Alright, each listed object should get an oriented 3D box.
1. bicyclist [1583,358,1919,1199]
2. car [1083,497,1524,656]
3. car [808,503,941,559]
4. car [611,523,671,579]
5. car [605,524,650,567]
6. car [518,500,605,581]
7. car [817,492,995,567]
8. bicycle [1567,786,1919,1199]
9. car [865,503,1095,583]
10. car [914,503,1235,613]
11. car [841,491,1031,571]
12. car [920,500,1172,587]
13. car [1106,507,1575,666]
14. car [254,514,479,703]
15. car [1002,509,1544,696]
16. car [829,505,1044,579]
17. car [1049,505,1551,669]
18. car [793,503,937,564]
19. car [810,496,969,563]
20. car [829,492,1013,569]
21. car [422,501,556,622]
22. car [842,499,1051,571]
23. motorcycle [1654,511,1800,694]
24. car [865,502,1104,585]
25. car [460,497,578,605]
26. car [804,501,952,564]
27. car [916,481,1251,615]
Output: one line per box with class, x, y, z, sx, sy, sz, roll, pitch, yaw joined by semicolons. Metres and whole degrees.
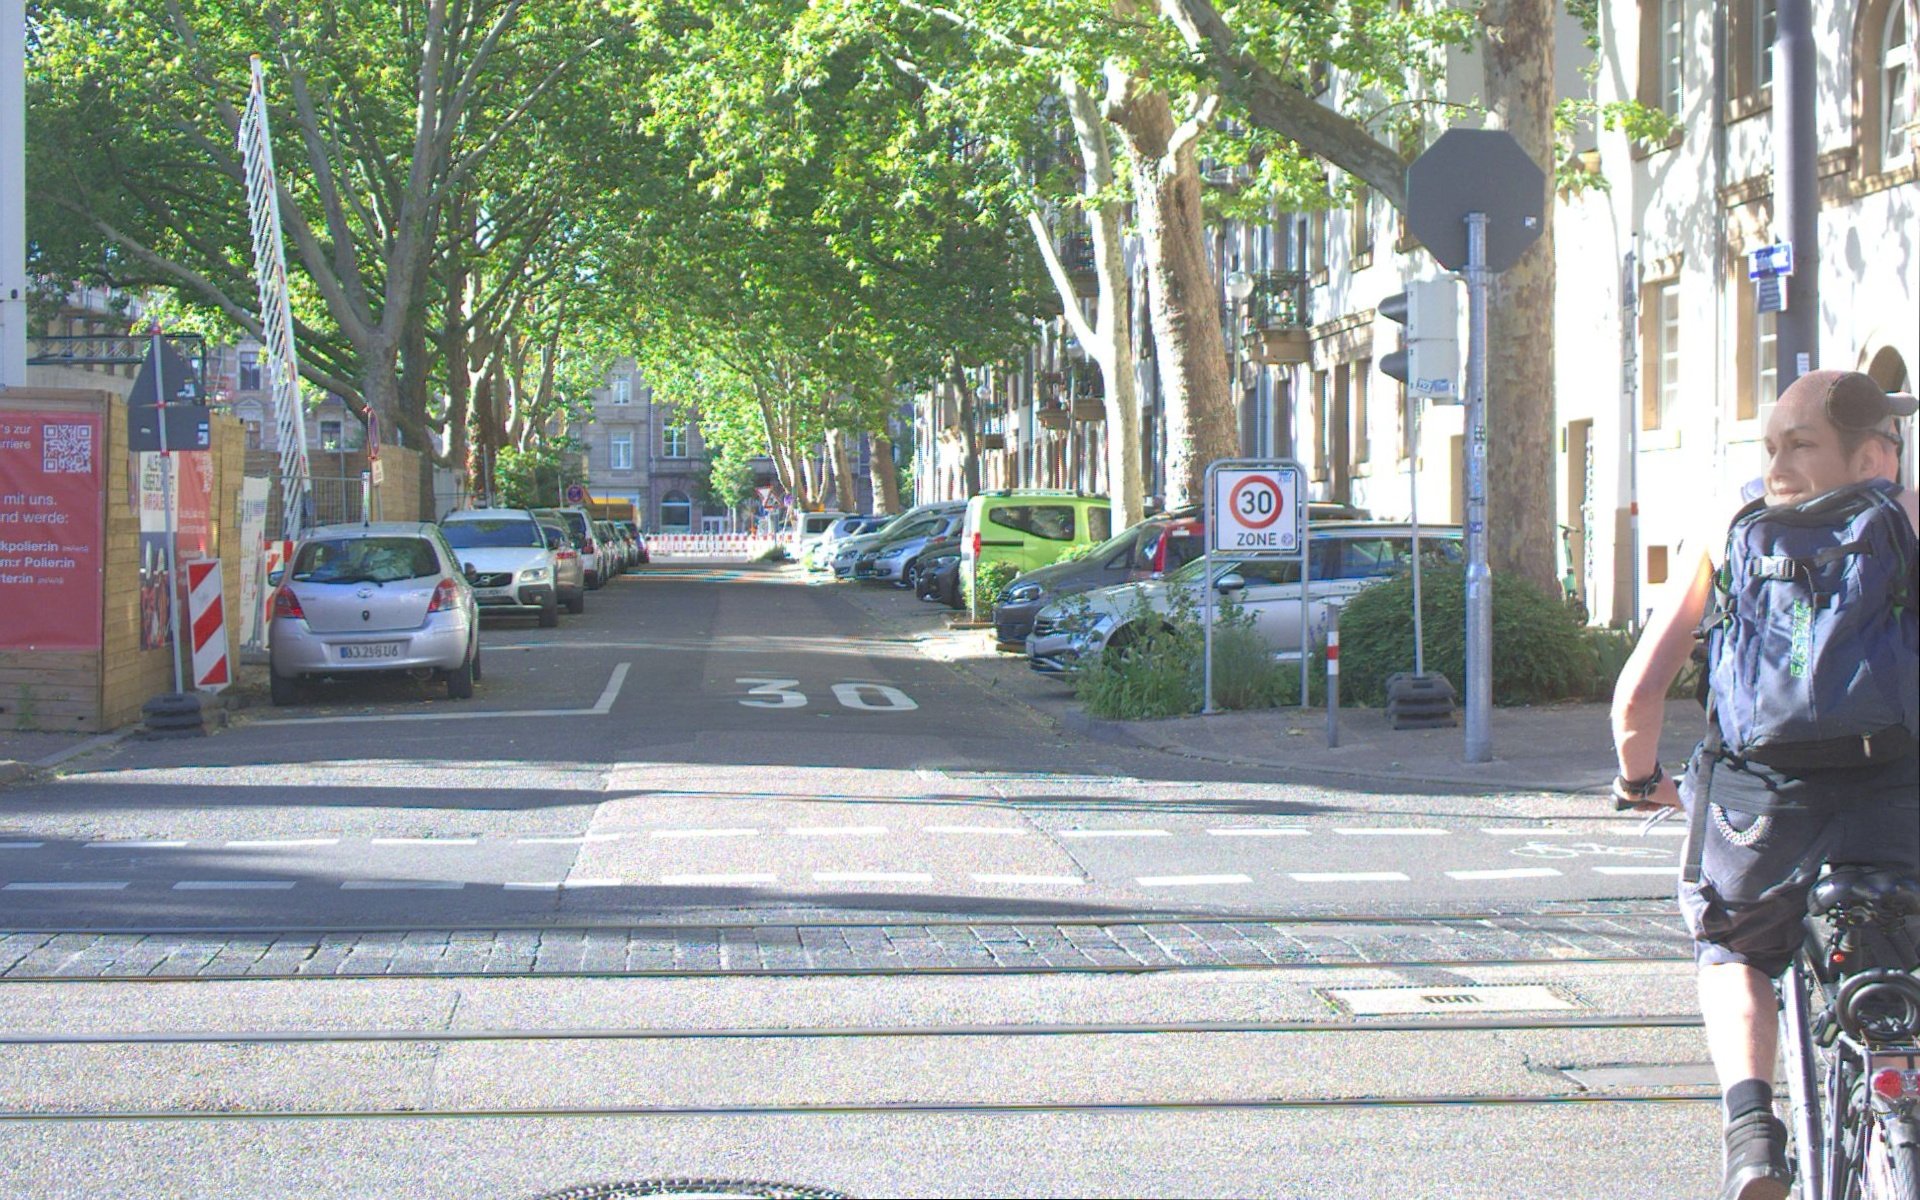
bicyclist;1.375;0.393;5.484;0.676;1.507;0.668;2;1;8
car;3.646;-0.265;36.951;4.461;1.665;1.729;0;1;-5
car;-2.965;-2.379;118.231;4.461;1.891;1.729;0;1;-5
car;-9.190;-1.418;98.884;1.665;1.557;4.220;0;2;-6
car;-12.511;-2.055;129.247;1.665;1.557;4.220;0;2;-6
car;-7.936;-1.213;68.703;1.665;1.557;4.617;0;2;-6
car;-1.413;-1.819;88.856;4.461;1.891;1.729;0;1;-5
bicycle;1.362;0.888;5.533;0.690;1.013;1.907;2;1;8
car;0.386;-1.149;68.892;4.461;1.565;1.729;0;1;-5
car;1.632;-0.618;49.917;4.461;1.565;1.729;0;1;-5
car;-0.609;-1.674;83.261;4.461;1.891;1.729;0;1;-5
car;1.555;-1.046;63.280;4.461;1.565;1.729;0;1;-5
car;3.813;-0.149;34.872;4.461;1.565;1.729;0;1;-5
car;-5.163;0.018;30.305;1.643;1.489;4.001;-2;2;-6
car;2.672;0.002;29.957;4.461;1.565;1.729;0;1;-5
car;-0.525;-1.252;73.609;4.461;1.565;1.729;0;1;-5
car;3.156;-0.135;32.451;4.461;1.495;1.729;0;1;-5
car;-3.034;-2.124;109.220;4.461;1.891;1.729;0;1;-5
car;-2.041;-2.035;98.782;4.461;1.891;1.729;0;1;-5
car;-0.999;-1.753;86.008;4.461;1.891;1.729;0;1;-5
car;-6.309;-0.546;46.301;1.665;1.557;4.001;0;2;-6
car;-0.320;-1.444;75.944;4.461;1.565;1.729;0;1;-5
motorcycle;5.783;-0.005;26.004;0.513;1.328;1.764;0;2;-7
car;0.444;-1.104;66.415;4.461;1.565;1.729;0;1;-5
car;-6.634;-0.767;51.997;1.665;1.557;4.520;0;2;-6
car;-2.559;-2.092;106.198;4.461;1.891;1.729;0;1;-5
car;1.693;-0.729;47.896;4.461;1.830;1.729;0;1;-6
